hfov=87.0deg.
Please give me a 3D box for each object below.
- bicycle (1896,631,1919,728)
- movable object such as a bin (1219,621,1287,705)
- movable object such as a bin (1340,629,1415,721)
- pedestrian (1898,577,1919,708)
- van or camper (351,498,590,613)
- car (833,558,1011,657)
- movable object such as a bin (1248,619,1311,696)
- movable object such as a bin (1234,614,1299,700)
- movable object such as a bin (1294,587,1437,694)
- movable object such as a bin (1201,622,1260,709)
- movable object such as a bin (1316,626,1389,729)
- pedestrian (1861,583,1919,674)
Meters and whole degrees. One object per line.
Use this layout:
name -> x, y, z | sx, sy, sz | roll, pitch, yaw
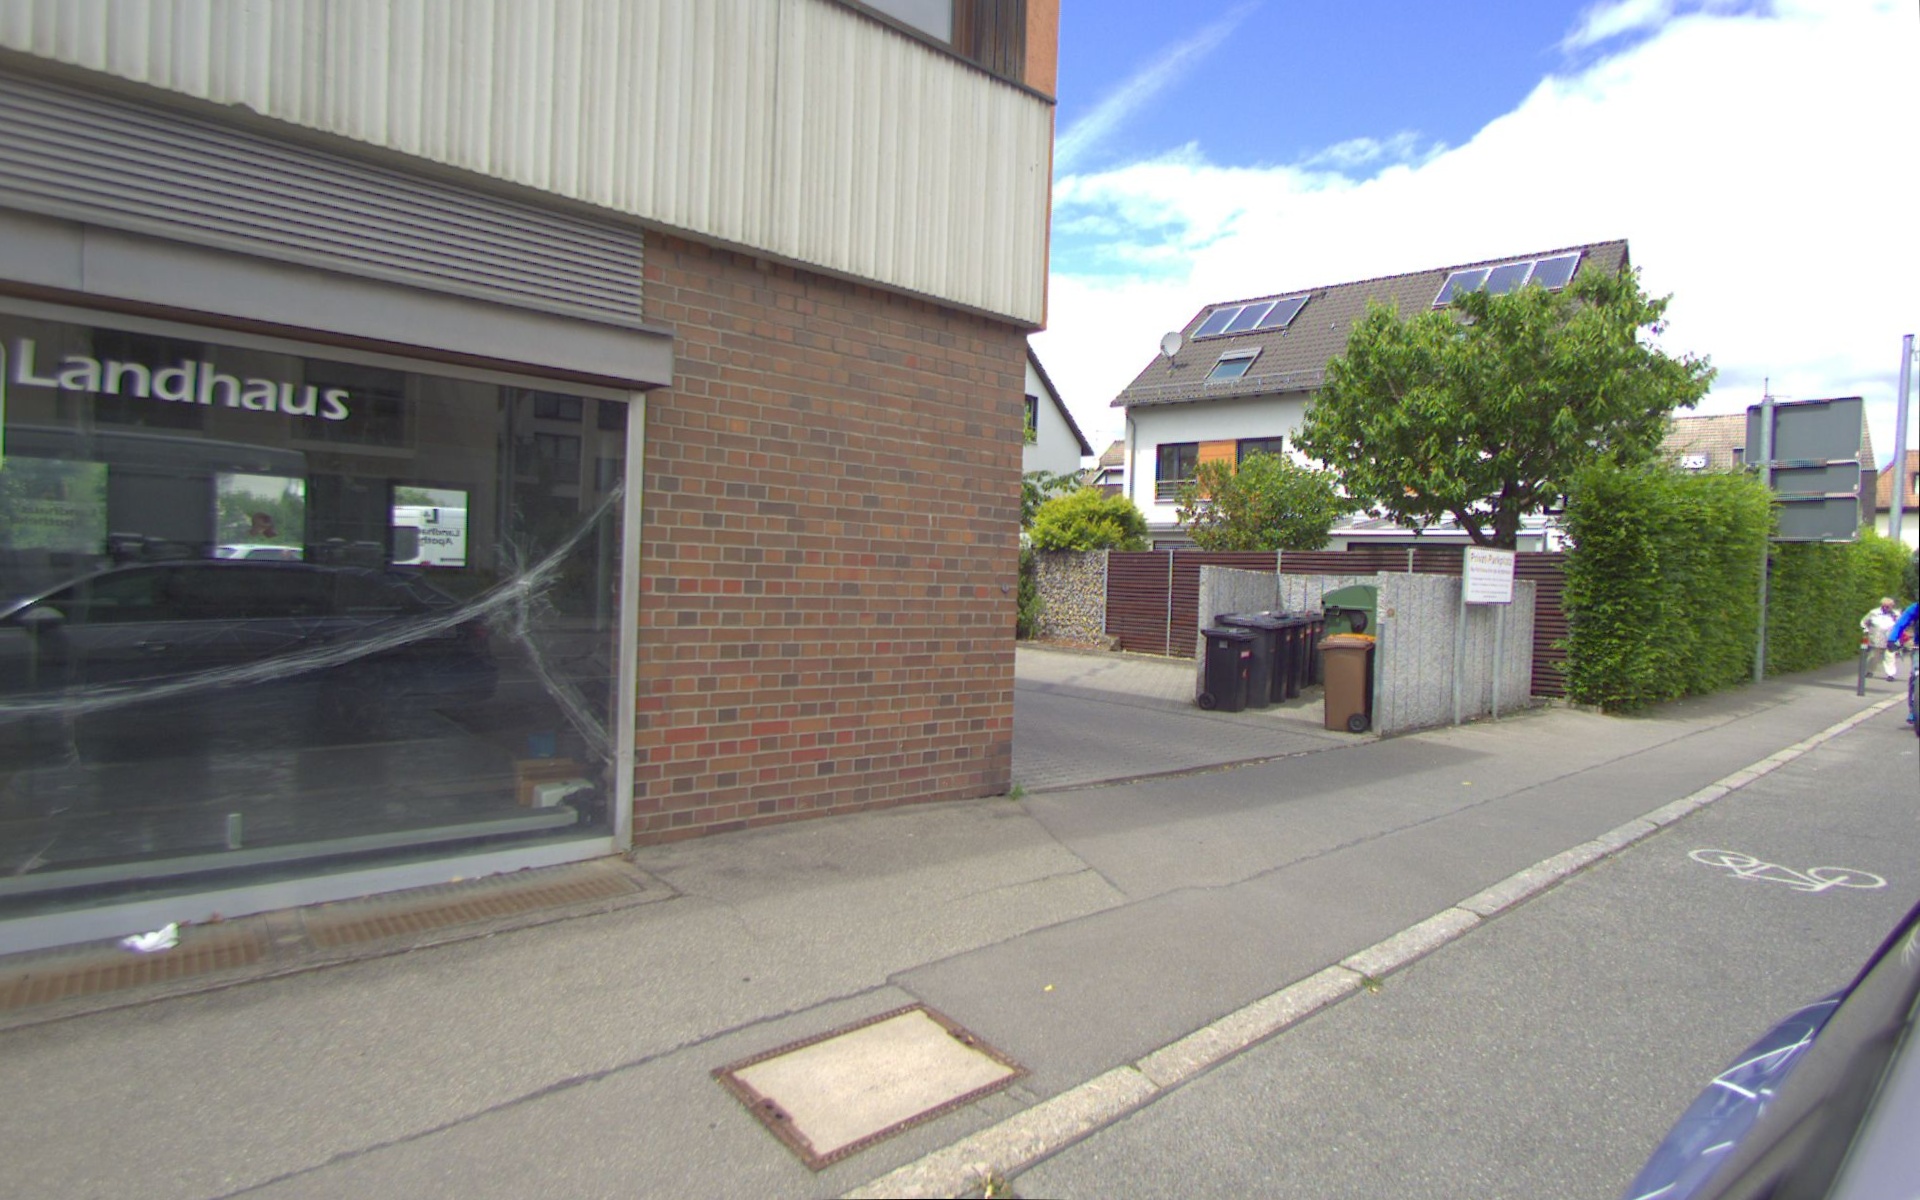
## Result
bicycle -> 11.827, 0.928, 12.158 | 2.366, 1.058, 0.536 | 0, 1, -40
movable object such as a bin -> 3.421, 0.718, 11.804 | 0.630, 0.903, 0.534 | 1, 1, 33
movable object such as a bin -> 4.478, 0.786, 10.849 | 0.532, 0.903, 0.668 | 2, 1, 43
pedestrian -> 11.718, 0.509, 12.016 | 0.856, 1.536, 0.735 | 0, 1, -41
van or camper -> -12.067, -1.071, 25.463 | 2.034, 2.574, 5.474 | 2, 1, 21
car -> -0.567, 0.076, 18.339 | 1.768, 1.555, 3.767 | 2, 2, 23
movable object such as a bin -> 4.015, 0.710, 12.721 | 0.630, 0.903, 0.534 | 1, 1, 33
movable object such as a bin -> 3.714, 0.677, 12.267 | 0.624, 0.979, 0.534 | 1, 1, 33
movable object such as a bin -> 5.290, 0.486, 13.185 | 1.509, 1.278, 1.190 | 0, 1, -43
movable object such as a bin -> 3.043, 0.721, 11.391 | 0.490, 0.924, 0.534 | 1, 1, 33
movable object such as a bin -> 3.990, 0.761, 10.271 | 0.530, 0.963, 0.678 | 1, 1, 36
pedestrian -> 17.644, 0.521, 19.084 | 0.641, 1.637, 0.801 | 1, 3, -39
